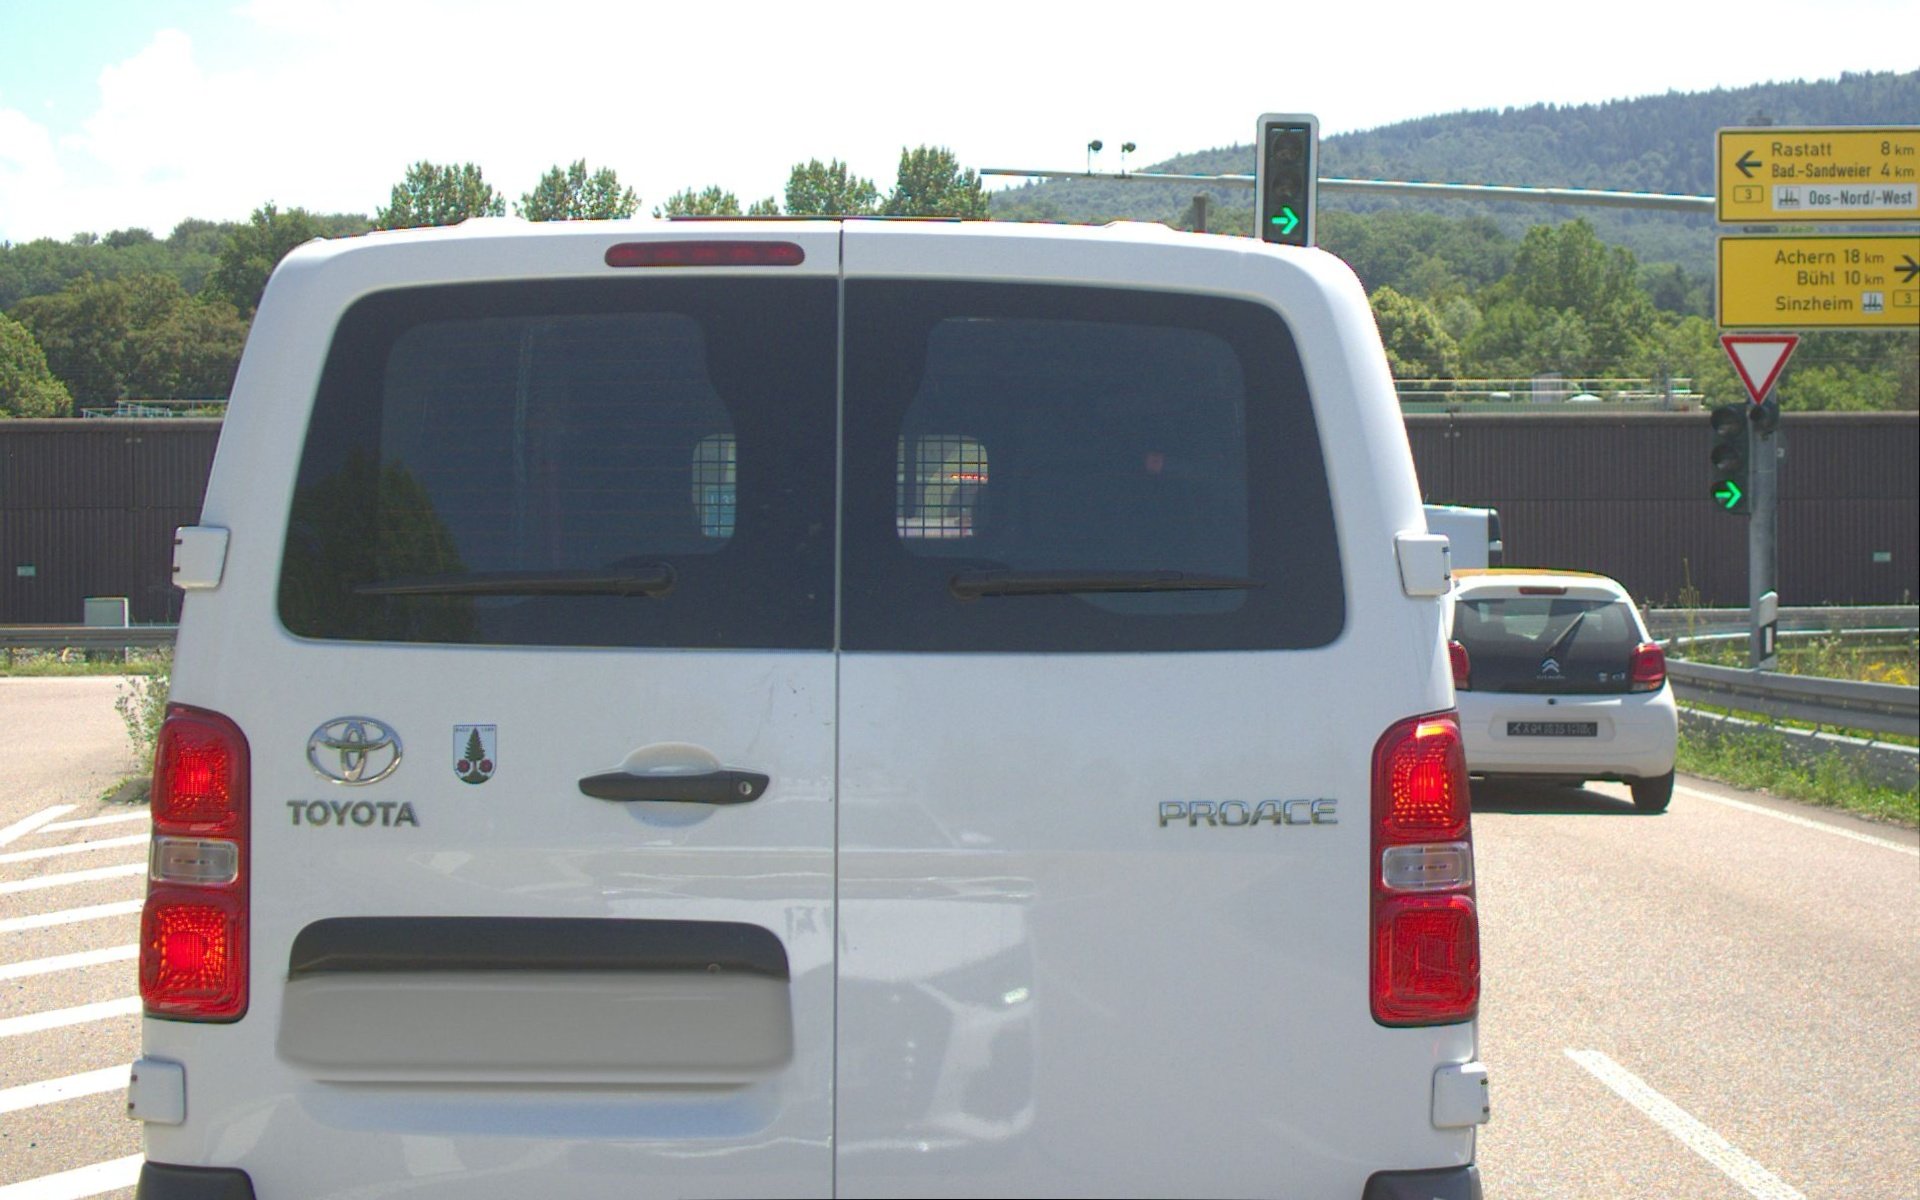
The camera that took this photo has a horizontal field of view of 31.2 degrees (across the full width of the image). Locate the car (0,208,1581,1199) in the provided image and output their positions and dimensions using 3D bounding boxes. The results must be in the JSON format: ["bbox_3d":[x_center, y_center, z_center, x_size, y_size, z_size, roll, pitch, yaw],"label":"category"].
[{"bbox_3d":[-0.250,0.464,6.109,1.886,1.880,4.000,1,1,-1],"label":"car"}]

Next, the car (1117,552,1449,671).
[{"bbox_3d":[4.561,0.151,48.827,4.309,1.651,2.001,0,1,-10],"label":"car"}]

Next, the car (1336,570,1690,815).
[{"bbox_3d":[3.453,0.535,22.014,1.656,1.426,3.366,1,1,-1],"label":"car"}]

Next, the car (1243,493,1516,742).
[{"bbox_3d":[3.594,0.117,30.254,1.928,1.993,4.837,1,1,2],"label":"car"}]
